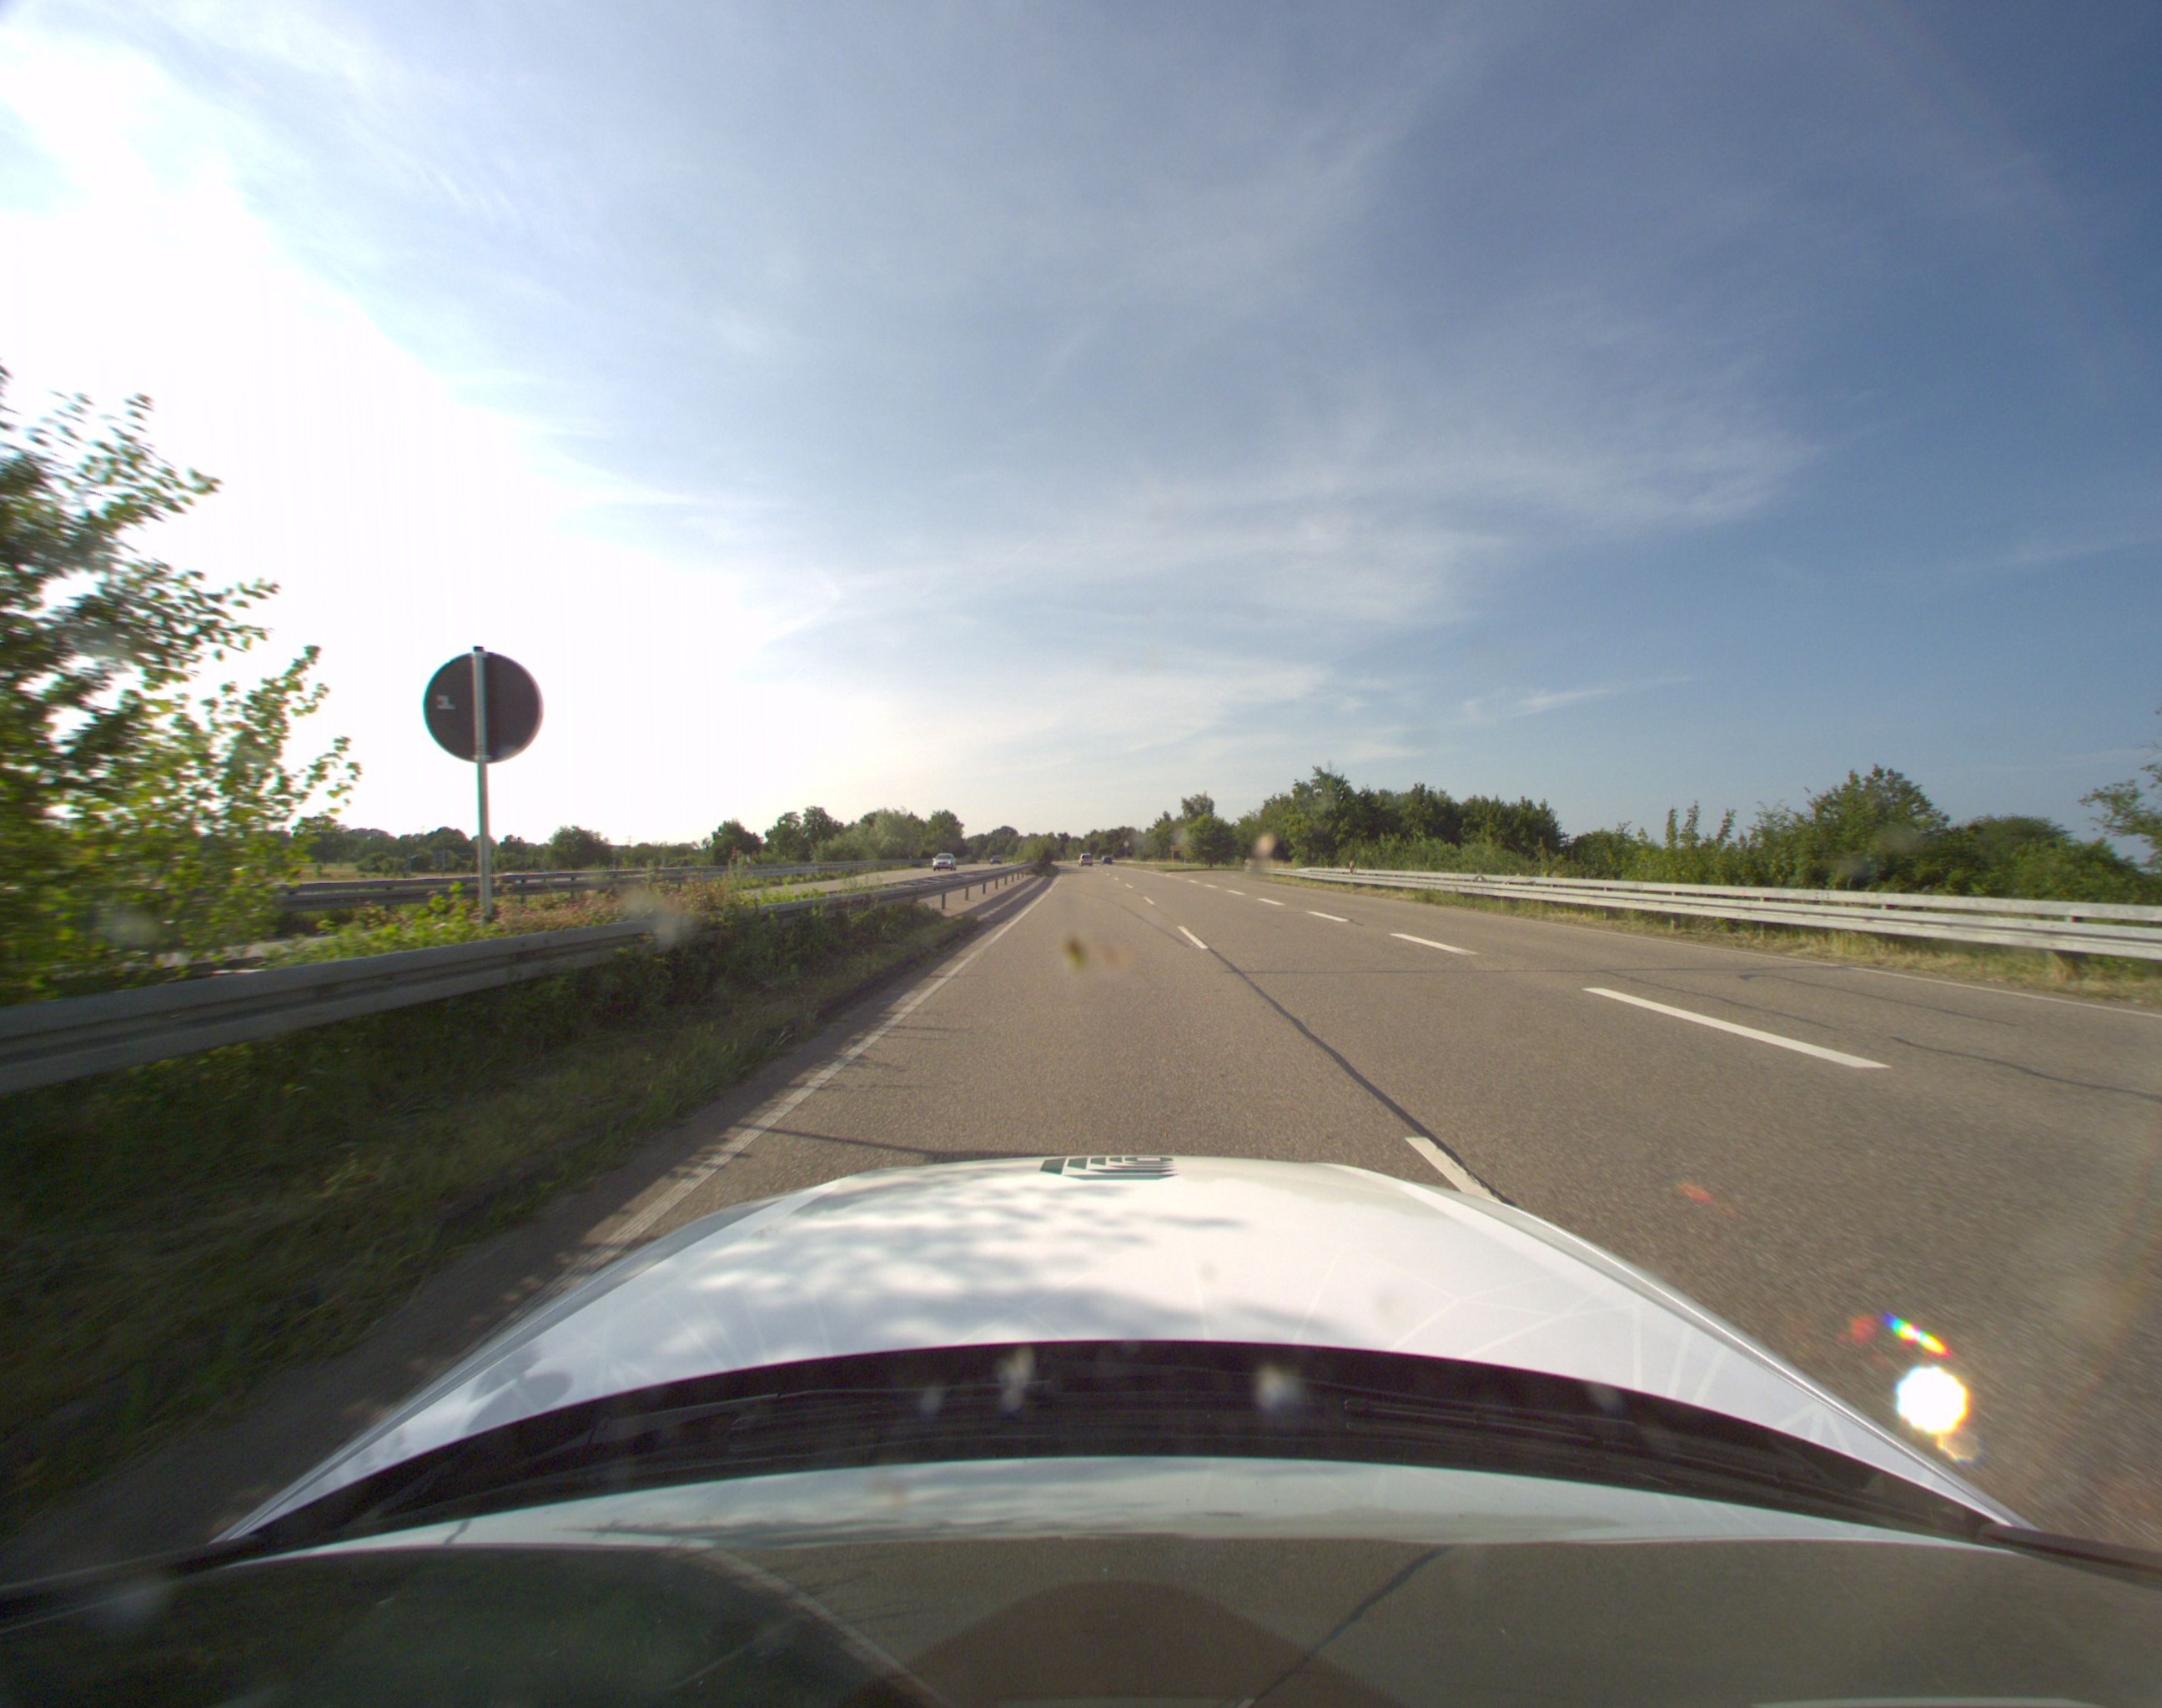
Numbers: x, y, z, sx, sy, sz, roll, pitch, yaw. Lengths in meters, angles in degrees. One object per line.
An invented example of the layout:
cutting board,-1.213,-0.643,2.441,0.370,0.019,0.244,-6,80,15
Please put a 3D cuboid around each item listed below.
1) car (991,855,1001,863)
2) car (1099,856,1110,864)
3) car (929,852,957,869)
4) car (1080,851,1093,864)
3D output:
car,-14.096,0.819,135.495,1.485,1.298,3.264,-1,-1,-3
car,4.231,1.058,145.006,1.774,1.452,3.997,-1,-2,-2
car,-11.815,0.603,69.952,1.634,1.421,3.999,0,-1,0
car,0.789,0.498,117.816,1.761,1.882,3.997,-1,-1,-1
